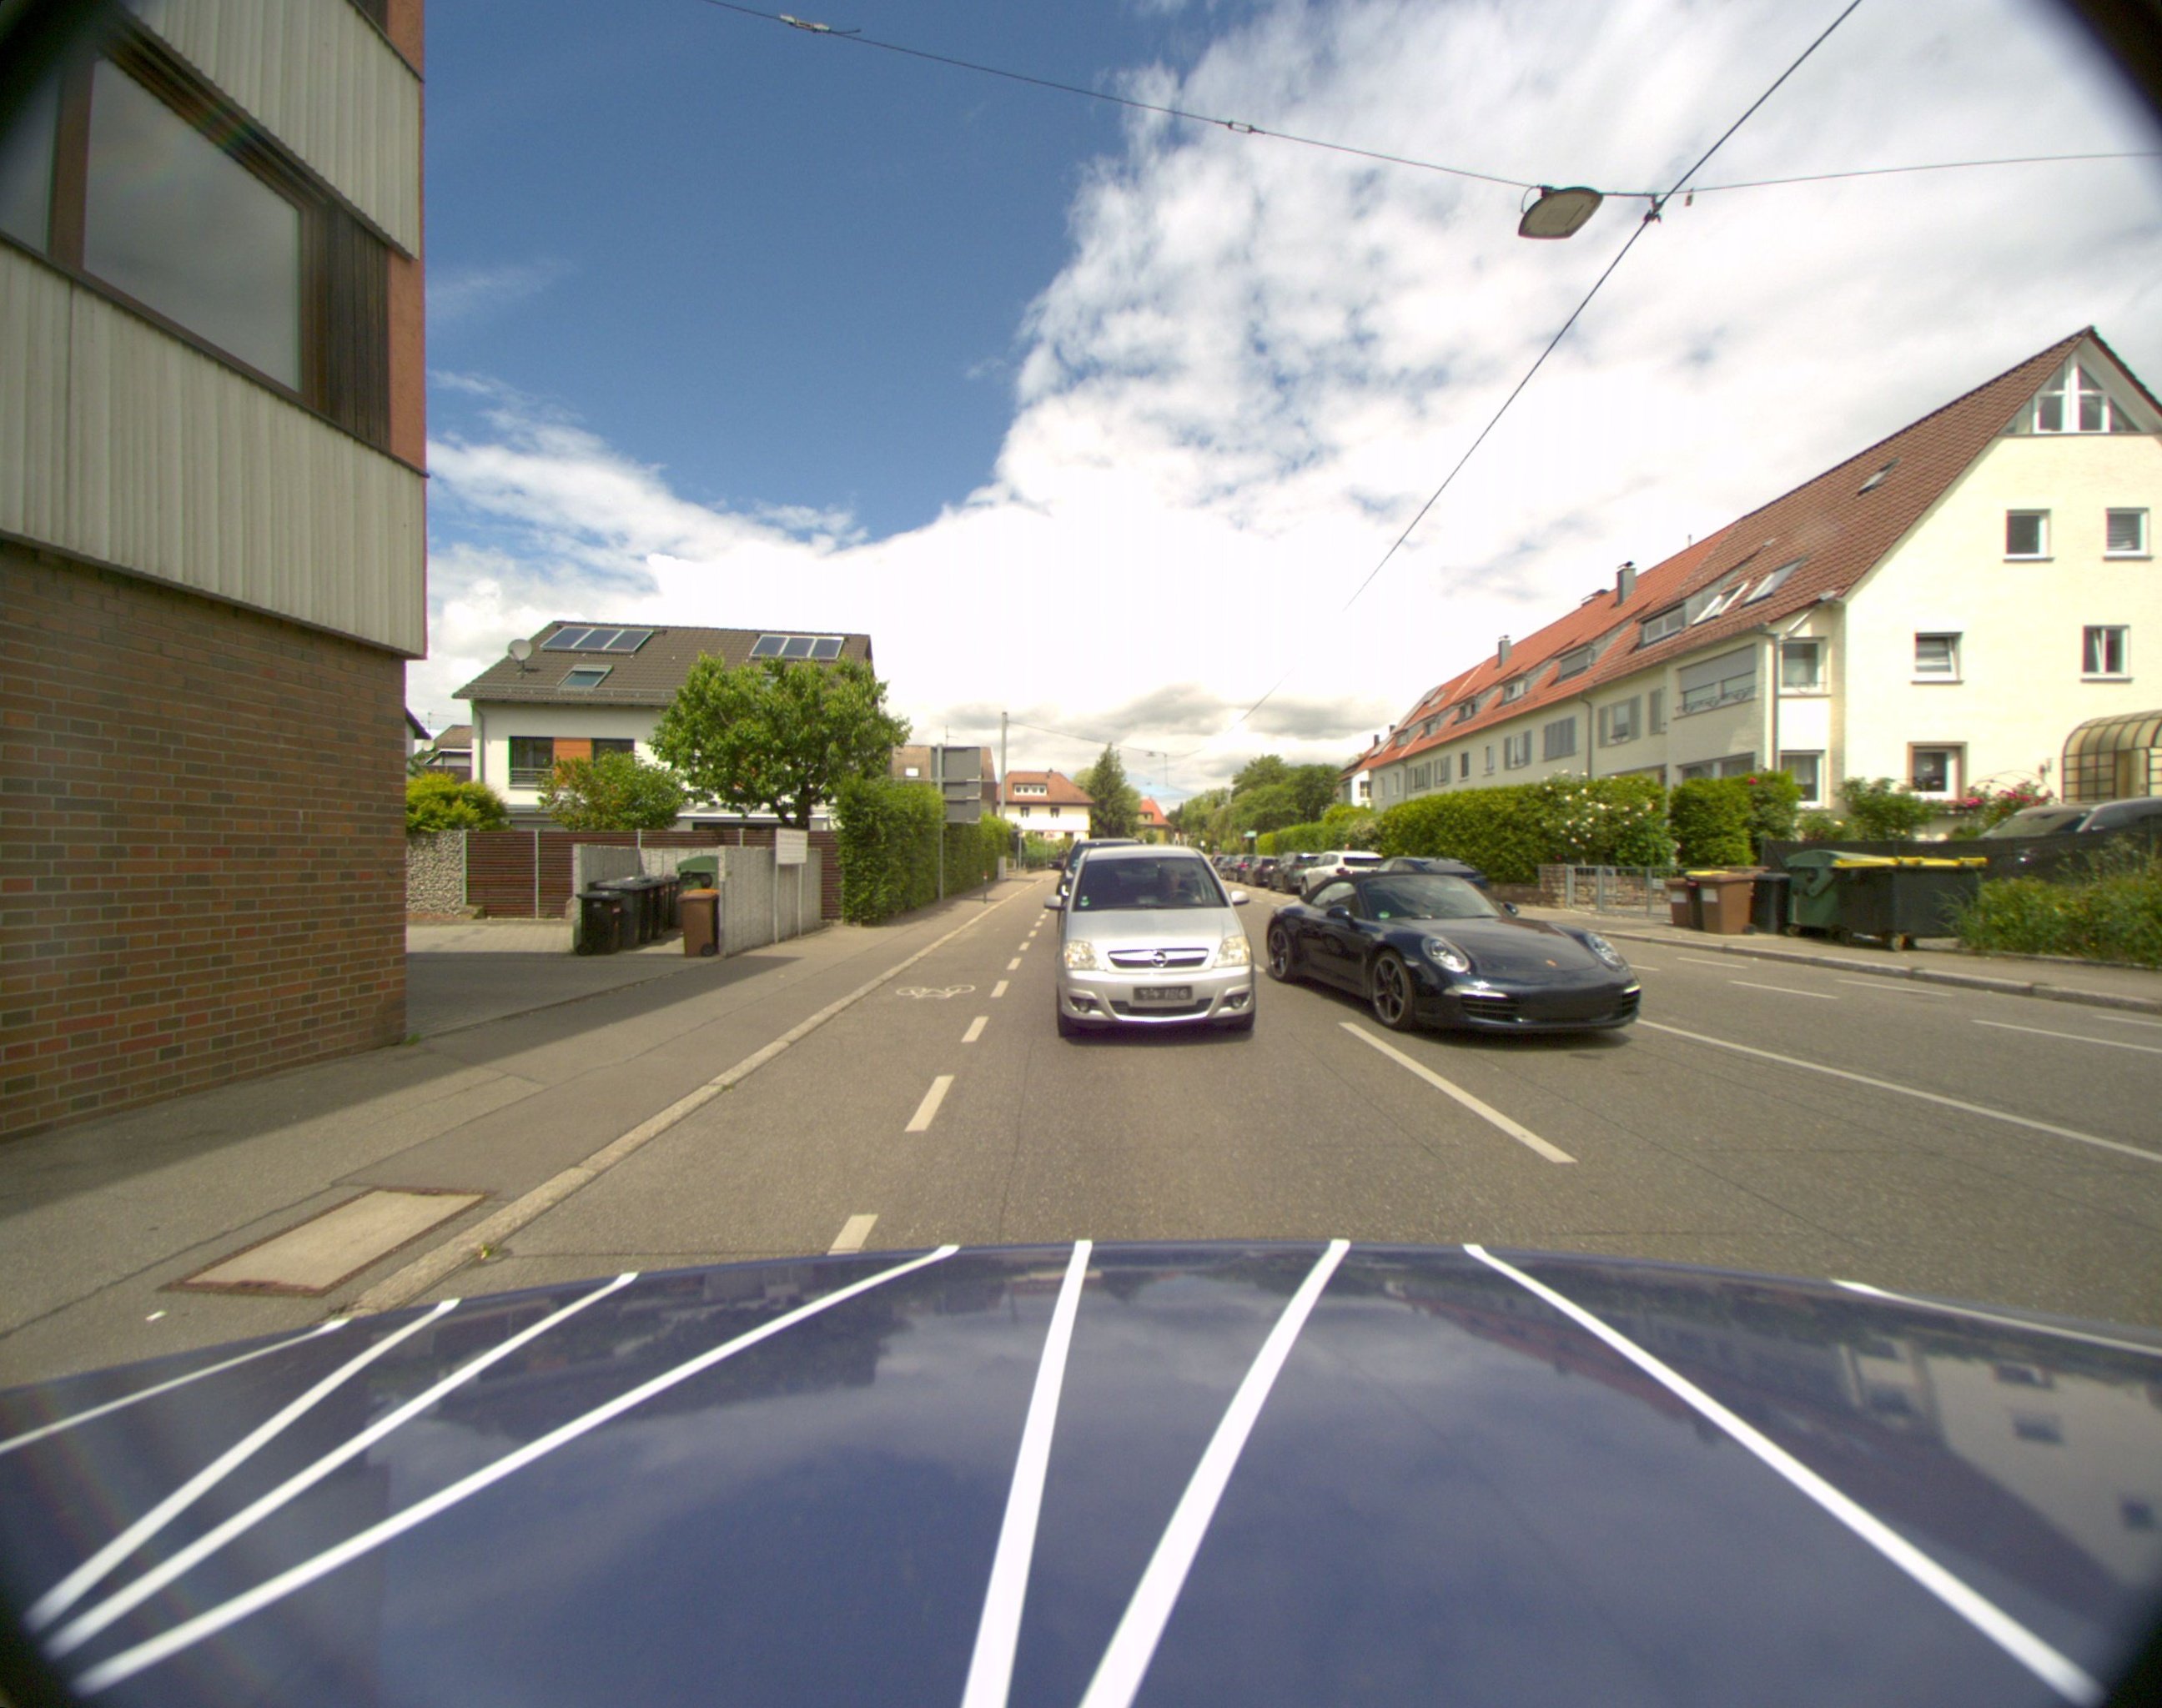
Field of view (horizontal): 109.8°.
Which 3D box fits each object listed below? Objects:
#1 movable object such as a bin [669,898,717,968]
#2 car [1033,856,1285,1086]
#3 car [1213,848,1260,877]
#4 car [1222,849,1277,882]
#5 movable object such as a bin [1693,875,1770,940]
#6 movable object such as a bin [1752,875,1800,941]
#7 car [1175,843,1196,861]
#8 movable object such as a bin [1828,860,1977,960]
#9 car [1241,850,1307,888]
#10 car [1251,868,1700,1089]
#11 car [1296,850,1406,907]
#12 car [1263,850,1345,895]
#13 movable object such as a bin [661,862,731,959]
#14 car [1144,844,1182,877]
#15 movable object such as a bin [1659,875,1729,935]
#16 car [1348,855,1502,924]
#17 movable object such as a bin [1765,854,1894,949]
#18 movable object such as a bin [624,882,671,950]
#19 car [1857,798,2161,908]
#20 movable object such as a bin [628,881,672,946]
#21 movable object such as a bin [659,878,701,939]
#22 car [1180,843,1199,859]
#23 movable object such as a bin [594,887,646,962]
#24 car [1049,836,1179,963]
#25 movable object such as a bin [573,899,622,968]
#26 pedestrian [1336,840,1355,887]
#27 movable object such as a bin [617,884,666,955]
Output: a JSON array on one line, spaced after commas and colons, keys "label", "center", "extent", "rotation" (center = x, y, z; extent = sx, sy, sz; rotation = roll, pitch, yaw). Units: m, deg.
[{"label": "movable object such as a bin", "center": [-5.514, 1.112, 10.821], "extent": [0.519, 0.916, 0.478], "rotation": [-1, 1, -18]}, {"label": "car", "center": [0.578, 0.844, 7.431], "extent": [1.774, 1.566, 4.001], "rotation": [-1, 1, 0]}, {"label": "car", "center": [9.416, 0.487, 46.312], "extent": [1.998, 1.623, 4.236], "rotation": [-1, 1, 0]}, {"label": "car", "center": [8.925, 0.584, 40.487], "extent": [1.998, 1.623, 4.236], "rotation": [-1, 1, 0]}, {"label": "movable object such as a bin", "center": [11.307, 0.919, 13.237], "extent": [0.763, 1.059, 0.693], "rotation": [-1, 1, 7]}, {"label": "movable object such as a bin", "center": [11.960, 0.913, 13.075], "extent": [0.657, 1.059, 0.522], "rotation": [-2, 1, -38]}, {"label": "car", "center": [11.609, -0.203, 84.271], "extent": [1.997, 1.904, 4.072], "rotation": [-1, 1, 11]}, {"label": "movable object such as a bin", "center": [11.852, 0.781, 11.005], "extent": [1.092, 1.355, 0.980], "rotation": [-1, 1, 0]}, {"label": "car", "center": [8.831, 0.659, 35.194], "extent": [1.998, 1.623, 4.236], "rotation": [0, 1, 0]}, {"label": "car", "center": [3.223, 0.887, 7.265], "extent": [1.816, 1.356, 4.041], "rotation": [-1, 1, -8]}, {"label": "car", "center": [8.583, 0.714, 24.615], "extent": [1.998, 1.623, 4.453], "rotation": [-1, 1, 0]}, {"label": "car", "center": [8.660, 0.663, 29.861], "extent": [1.998, 1.623, 4.236], "rotation": [-1, 1, 0]}, {"label": "movable object such as a bin", "center": [-5.953, 0.858, 11.767], "extent": [0.809, 1.446, 0.479], "rotation": [-1, 1, -4]}, {"label": "car", "center": [4.950, 0.362, 46.315], "extent": [1.998, 1.904, 4.069], "rotation": [-1, 1, 3]}, {"label": "movable object such as a bin", "center": [11.267, 0.930, 13.983], "extent": [0.763, 1.059, 0.693], "rotation": [-1, 1, 7]}, {"label": "car", "center": [8.668, 0.816, 19.620], "extent": [1.819, 1.493, 4.452], "rotation": [-1, 1, -2]}, {"label": "movable object such as a bin", "center": [11.937, 0.725, 12.157], "extent": [1.092, 1.438, 0.980], "rotation": [-1, 1, 0]}, {"label": "movable object such as a bin", "center": [-7.212, 1.024, 12.651], "extent": [0.596, 1.069, 0.488], "rotation": [-1, 1, -24]}, {"label": "car", "center": [18.631, -0.036, 15.294], "extent": [3.997, 2.002, 2.000], "rotation": [-1, 1, 0]}, {"label": "movable object such as a bin", "center": [-7.453, 1.018, 13.154], "extent": [0.596, 1.069, 0.488], "rotation": [-1, 1, -24]}, {"label": "movable object such as a bin", "center": [-7.438, 0.998, 14.105], "extent": [0.596, 1.069, 0.488], "rotation": [-1, 1, -19]}, {"label": "car", "center": [13.376, -0.424, 93.598], "extent": [1.997, 1.904, 4.072], "rotation": [-1, 1, 11]}, {"label": "movable object such as a bin", "center": [-7.028, 1.055, 11.609], "extent": [0.596, 1.069, 0.488], "rotation": [-1, 1, -24]}, {"label": "car", "center": [0.429, 0.639, 13.737], "extent": [1.887, 1.838, 5.219], "rotation": [-1, 1, -1]}, {"label": "movable object such as a bin", "center": [-7.008, 1.140, 11.029], "extent": [0.519, 0.916, 0.478], "rotation": [-1, 1, -24]}, {"label": "pedestrian", "center": [10.217, 0.353, 29.329], "extent": [0.533, 1.805, 0.511], "rotation": [-1, 1, -4]}, {"label": "movable object such as a bin", "center": [-7.036, 1.031, 12.189], "extent": [0.596, 1.069, 0.488], "rotation": [-1, 1, -24]}]
